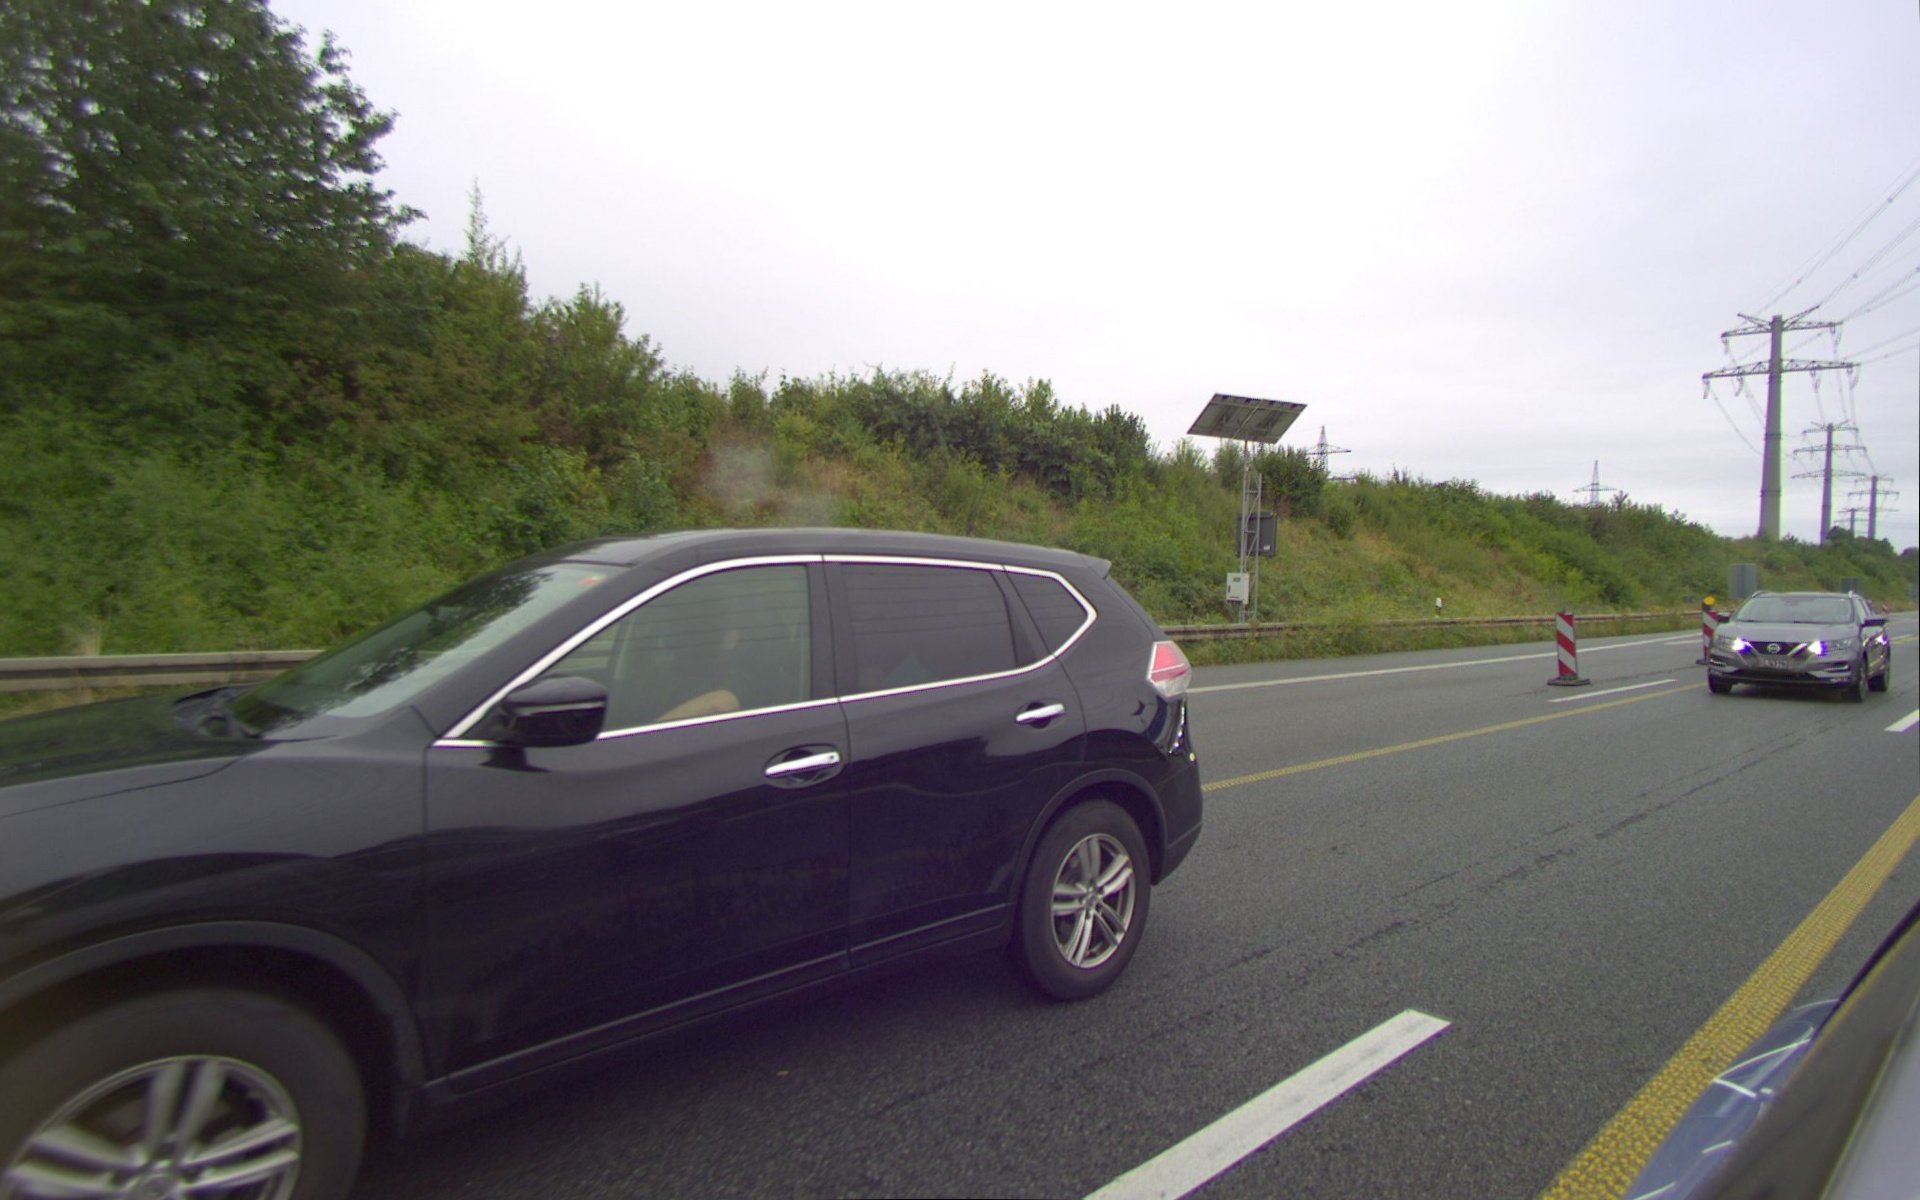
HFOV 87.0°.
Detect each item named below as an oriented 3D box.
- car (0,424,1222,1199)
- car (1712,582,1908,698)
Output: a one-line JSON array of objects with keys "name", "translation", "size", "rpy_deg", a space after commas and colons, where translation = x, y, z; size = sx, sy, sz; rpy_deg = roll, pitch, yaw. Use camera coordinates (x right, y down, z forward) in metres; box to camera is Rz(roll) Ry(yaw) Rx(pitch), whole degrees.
[{"name": "car", "translation": [-1.047, 0.526, 3.348], "size": [4.207, 1.679, 1.687], "rpy_deg": [0, 1, -42]}, {"name": "car", "translation": [13.226, 0.521, 15.671], "size": [4.079, 1.552, 1.802], "rpy_deg": [0, 1, -42]}]
